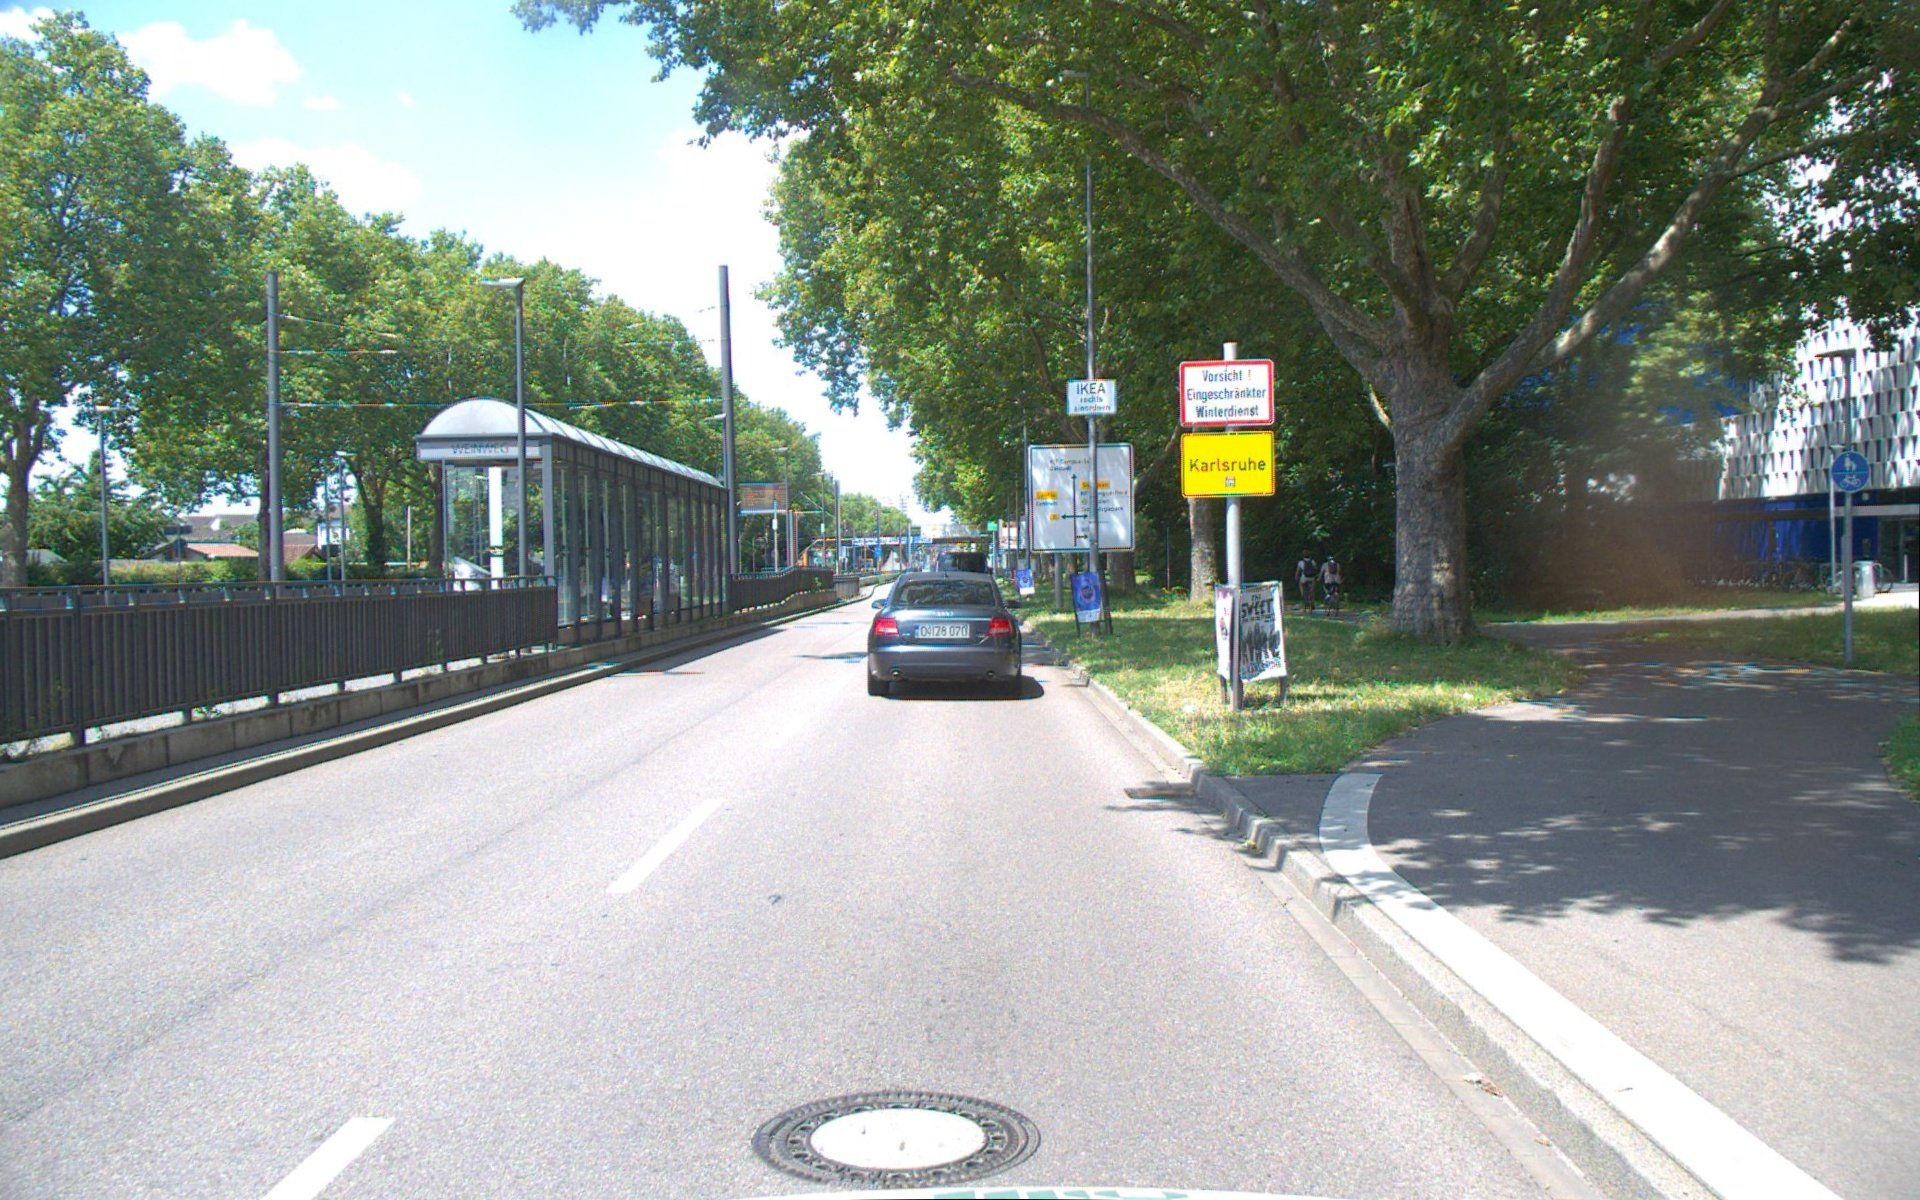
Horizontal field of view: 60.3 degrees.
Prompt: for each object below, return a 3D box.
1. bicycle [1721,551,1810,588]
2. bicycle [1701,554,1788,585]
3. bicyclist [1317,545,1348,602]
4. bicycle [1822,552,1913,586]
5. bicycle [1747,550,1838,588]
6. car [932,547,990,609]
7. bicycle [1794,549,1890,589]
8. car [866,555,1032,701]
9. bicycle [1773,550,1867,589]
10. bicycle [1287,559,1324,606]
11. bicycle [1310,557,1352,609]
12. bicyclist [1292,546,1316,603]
[{"bbox_3d":[25.434,-0.969,52.253,2.495,1.130,0.758,-1,1,-5],"label":"bicycle"},{"bbox_3d":[25.380,-0.988,53.523,2.495,0.987,0.758,-1,1,-5],"label":"bicycle"},{"bbox_3d":[10.688,-0.767,47.512,0.645,1.627,1.053,-1,1,0],"label":"bicyclist"},{"bbox_3d":[26.194,-0.898,47.732,2.270,0.977,0.758,-1,1,-5],"label":"bicycle"},{"bbox_3d":[25.660,-0.949,50.986,2.495,1.130,0.758,-1,1,-5],"label":"bicycle"},{"bbox_3d":[0.078,-0.761,55.785,1.810,1.993,4.146,0,1,2],"label":"car"},{"bbox_3d":[26.025,-0.915,48.839,2.495,1.130,0.758,-1,1,-5],"label":"bicycle"},{"bbox_3d":[-0.199,0.249,20.166,1.805,1.509,3.999,-1,2,-3],"label":"car"},{"bbox_3d":[25.902,-0.930,49.818,2.495,1.130,0.758,-1,1,-5],"label":"bicycle"},{"bbox_3d":[10.813,-0.575,51.876,0.598,1.444,2.662,-1,1,0],"label":"bicycle"},{"bbox_3d":[10.688,-0.517,47.765,0.598,1.444,2.662,-1,1,0],"label":"bicycle"},{"bbox_3d":[10.816,-0.813,52.026,0.585,1.776,0.843,0,1,0],"label":"bicyclist"}]
